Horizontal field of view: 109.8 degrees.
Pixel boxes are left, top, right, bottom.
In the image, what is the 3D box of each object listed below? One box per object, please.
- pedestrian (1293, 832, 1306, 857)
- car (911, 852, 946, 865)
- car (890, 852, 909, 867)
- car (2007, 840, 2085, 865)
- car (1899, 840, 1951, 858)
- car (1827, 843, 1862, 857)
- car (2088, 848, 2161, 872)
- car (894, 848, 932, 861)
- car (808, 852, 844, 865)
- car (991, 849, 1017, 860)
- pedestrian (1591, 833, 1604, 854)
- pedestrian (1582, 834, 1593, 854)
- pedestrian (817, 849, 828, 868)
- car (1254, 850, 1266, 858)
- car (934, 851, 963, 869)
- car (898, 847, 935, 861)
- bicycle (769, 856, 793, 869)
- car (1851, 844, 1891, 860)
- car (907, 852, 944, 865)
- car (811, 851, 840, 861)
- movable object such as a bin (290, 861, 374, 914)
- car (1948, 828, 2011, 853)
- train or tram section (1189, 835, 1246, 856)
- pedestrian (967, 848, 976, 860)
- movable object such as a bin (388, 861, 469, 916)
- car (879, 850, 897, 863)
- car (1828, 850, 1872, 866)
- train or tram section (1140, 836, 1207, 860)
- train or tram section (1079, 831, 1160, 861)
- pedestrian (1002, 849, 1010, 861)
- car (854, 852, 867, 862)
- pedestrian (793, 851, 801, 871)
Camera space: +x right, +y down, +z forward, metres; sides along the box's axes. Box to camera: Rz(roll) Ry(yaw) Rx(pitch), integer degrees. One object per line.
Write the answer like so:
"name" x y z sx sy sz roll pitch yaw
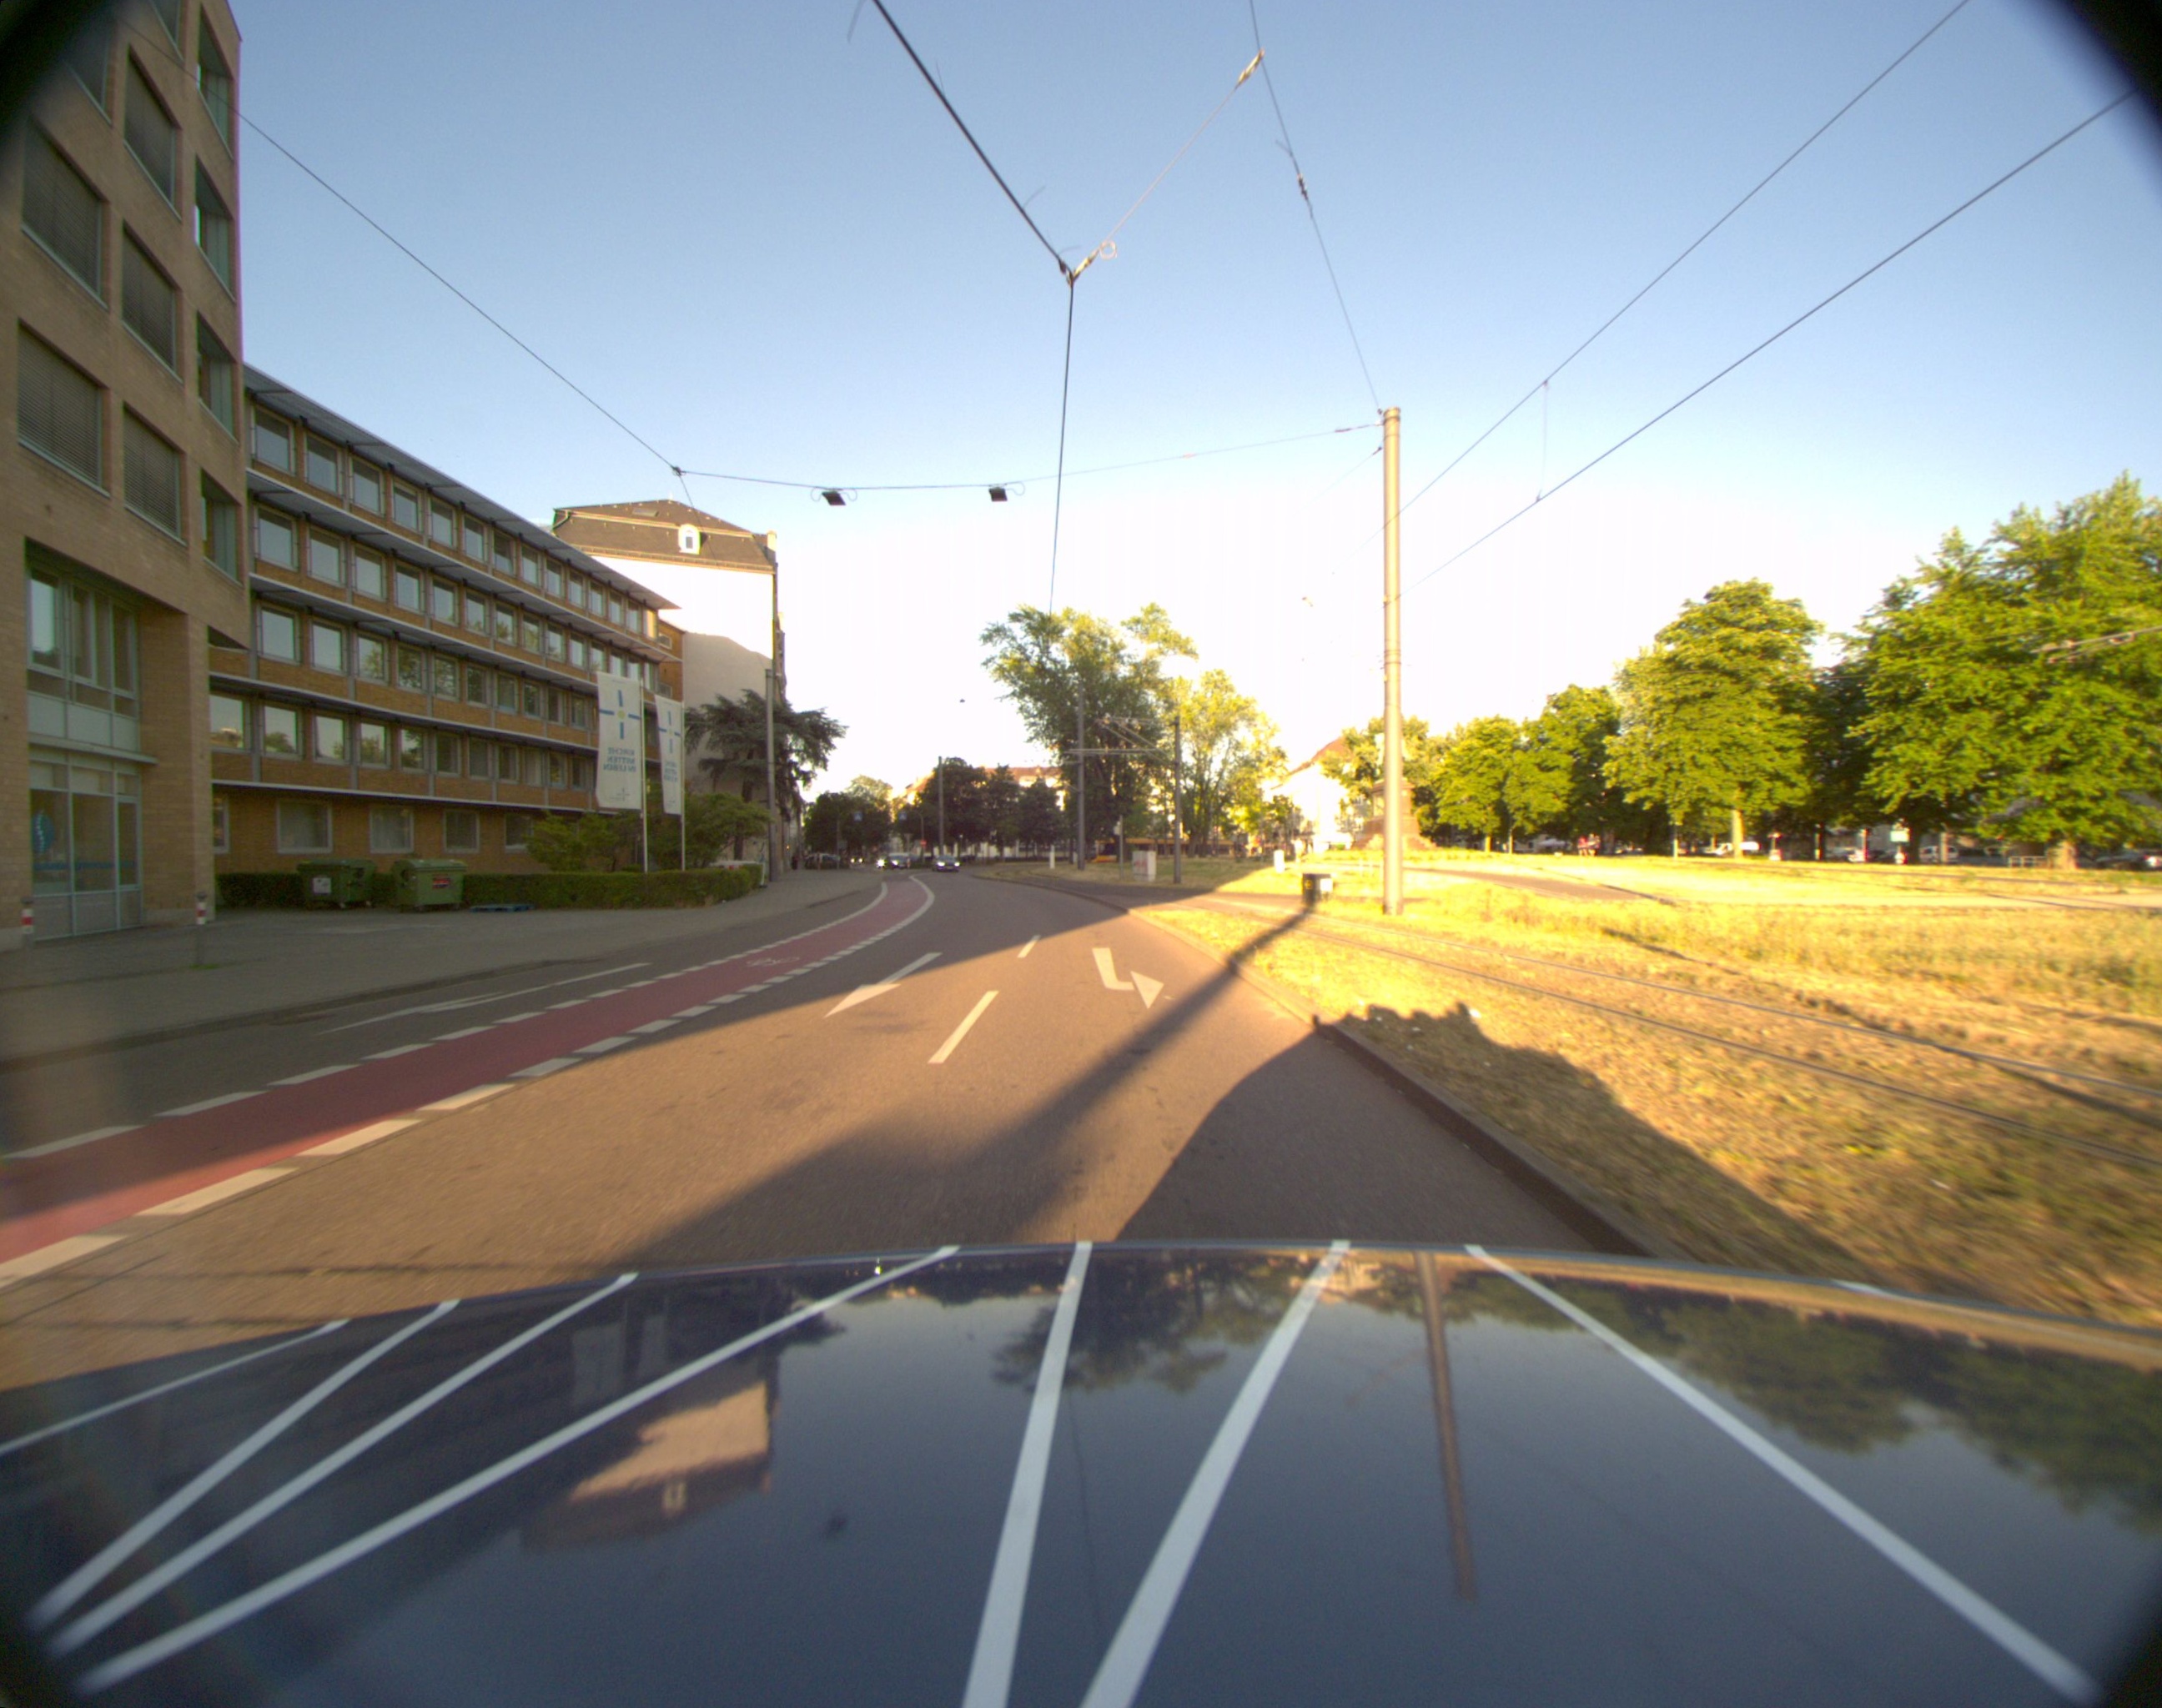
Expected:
"pedestrian" 14.551 -0.619 50.558 0.476 1.680 0.835 0 1 -12
"car" -18.626 0.563 92.910 4.067 1.547 1.865 0 -1 -5
"car" -18.159 0.549 76.133 1.822 1.473 4.131 0 -1 -13
"car" 72.627 -0.089 57.261 1.935 1.784 4.217 -1 -1 25
"car" 78.494 -0.430 70.717 1.755 1.654 4.007 -1 -1 25
"car" 87.026 -0.450 86.661 1.793 1.570 4.008 -1 -1 28
"car" 62.864 0.344 45.359 1.707 1.382 4.008 -1 -1 26
"car" -24.937 0.074 112.842 5.077 1.891 2.122 0 -1 3
"car" -31.035 0.567 92.553 4.071 1.560 1.835 0 -1 -17
"car" -12.686 0.135 125.373 4.010 1.714 1.702 0 0 0
"pedestrian" 40.181 -0.820 59.120 0.619 1.571 0.553 0 0 4
"pedestrian" 39.762 -0.789 59.660 0.453 1.503 0.553 0 0 4
"pedestrian" -23.821 0.415 70.106 0.591 1.781 0.822 0 0 13
"car" 37.898 -0.015 160.591 1.723 1.542 3.969 0 -1 3
"car" -11.364 0.557 64.986 1.822 1.473 4.129 0 -1 -18
"car" -25.020 0.006 115.764 5.077 2.010 1.968 0 0 3
"bicycle" -25.092 0.720 63.570 1.858 1.066 0.428 0 0 -21
"car" 84.042 -0.188 80.913 1.793 1.570 4.008 -1 -1 28
"car" -18.509 0.531 90.540 4.067 1.547 1.865 0 -1 -5
"car" -41.555 0.254 123.385 4.403 1.603 1.726 0 -1 -21
"movable object such as a bin" -20.588 0.905 20.913 1.345 1.416 0.924 0 0 -5
"car" 75.004 -1.091 63.509 1.755 1.932 4.217 0 -1 25
"train or tram section" 20.916 -1.326 115.621 2.917 3.123 12.670 0 1 38
"pedestrian" -17.479 0.009 121.272 0.827 2.001 1.011 0 0 32
"movable object such as a bin" -17.558 0.913 20.466 0.972 1.429 1.347 0 0 21
"car" -22.399 0.338 88.197 1.822 1.473 4.130 0 -1 -17
"car" 79.523 0.445 78.608 1.861 1.547 4.076 -1 -1 25
"train or tram section" 13.057 -0.909 105.559 2.923 3.123 12.882 0 1 38
"train or tram section" 5.078 -1.080 95.124 2.942 3.563 13.393 0 1 38
"pedestrian" -10.182 0.129 103.192 0.767 1.705 0.787 0 0 26
"car" -37.515 0.517 129.193 1.821 1.473 4.131 -1 -1 -12
"pedestrian" -24.018 0.622 64.204 0.578 1.699 0.720 0 0 -16
